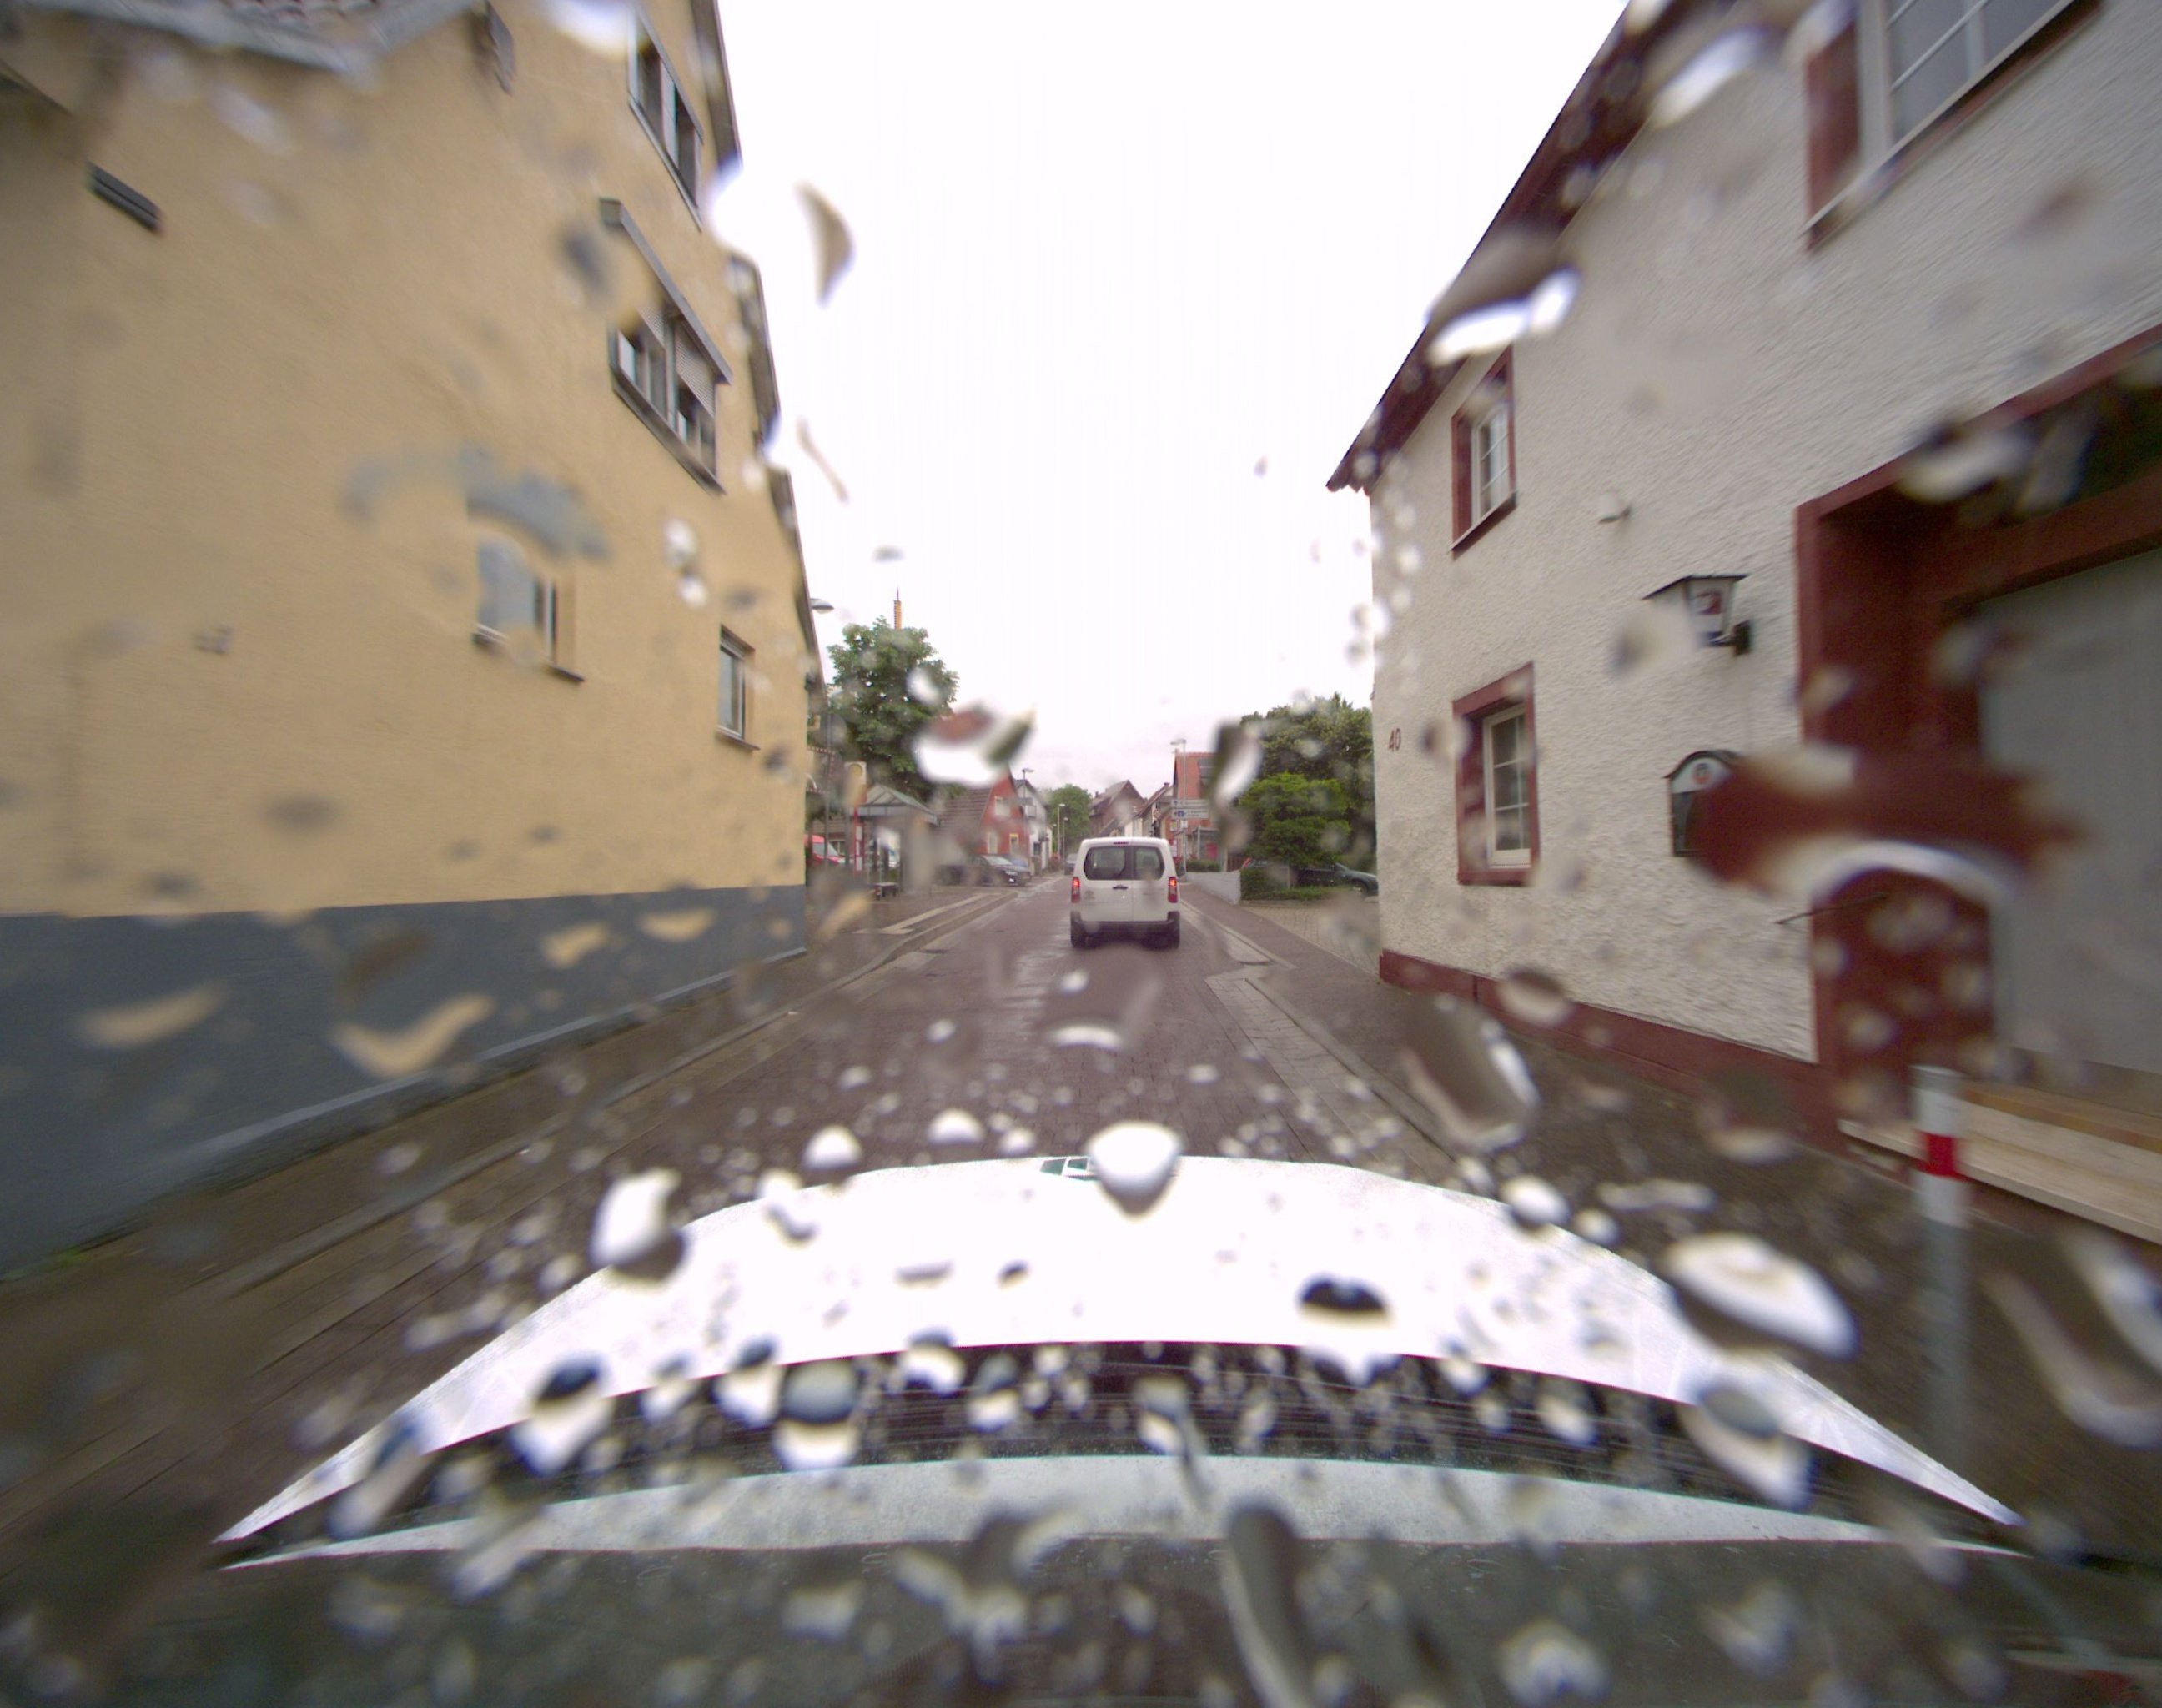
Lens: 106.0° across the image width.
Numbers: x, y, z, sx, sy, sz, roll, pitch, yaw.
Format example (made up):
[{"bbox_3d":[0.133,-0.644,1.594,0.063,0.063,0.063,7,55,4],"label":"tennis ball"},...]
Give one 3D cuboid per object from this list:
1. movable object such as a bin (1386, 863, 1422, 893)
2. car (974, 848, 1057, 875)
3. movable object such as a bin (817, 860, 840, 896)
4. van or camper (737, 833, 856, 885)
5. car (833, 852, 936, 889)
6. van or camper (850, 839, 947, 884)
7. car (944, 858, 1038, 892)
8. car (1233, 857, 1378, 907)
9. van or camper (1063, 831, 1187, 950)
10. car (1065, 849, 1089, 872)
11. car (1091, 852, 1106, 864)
[{"bbox_3d":[14.903,1.102,37.599,1.237,1.357,1.156,1,0,3],"label":"movable object such as a bin"},{"bbox_3d":[-3.532,0.388,44.123,4.017,1.373,2.087,0,-2,-36],"label":"car"},{"bbox_3d":[-8.220,0.793,26.551,0.560,1.146,0.604,-1,-2,-1],"label":"movable object such as a bin"},{"bbox_3d":[-14.403,0.264,41.129,5.804,2.473,2.168,-1,1,26],"label":"van or camper"},{"bbox_3d":[-9.238,0.742,38.373,4.408,1.550,1.892,1,0,22],"label":"car"},{"bbox_3d":[-10.452,0.439,46.553,5.094,2.435,2.225,-1,0,27],"label":"van or camper"},{"bbox_3d":[-4.222,0.964,38.043,4.258,1.477,1.862,-1,0,39],"label":"car"},{"bbox_3d":[6.998,0.865,25.496,4.195,1.480,1.702,-1,-1,16],"label":"car"},{"bbox_3d":[0.705,0.573,14.665,1.937,1.851,4.000,0,0,0],"label":"van or camper"},{"bbox_3d":[-0.326,0.521,66.161,1.806,1.779,4.017,-1,0,0],"label":"car"},{"bbox_3d":[2.385,0.562,113.487,1.988,1.747,3.998,0,0,-1],"label":"car"}]
